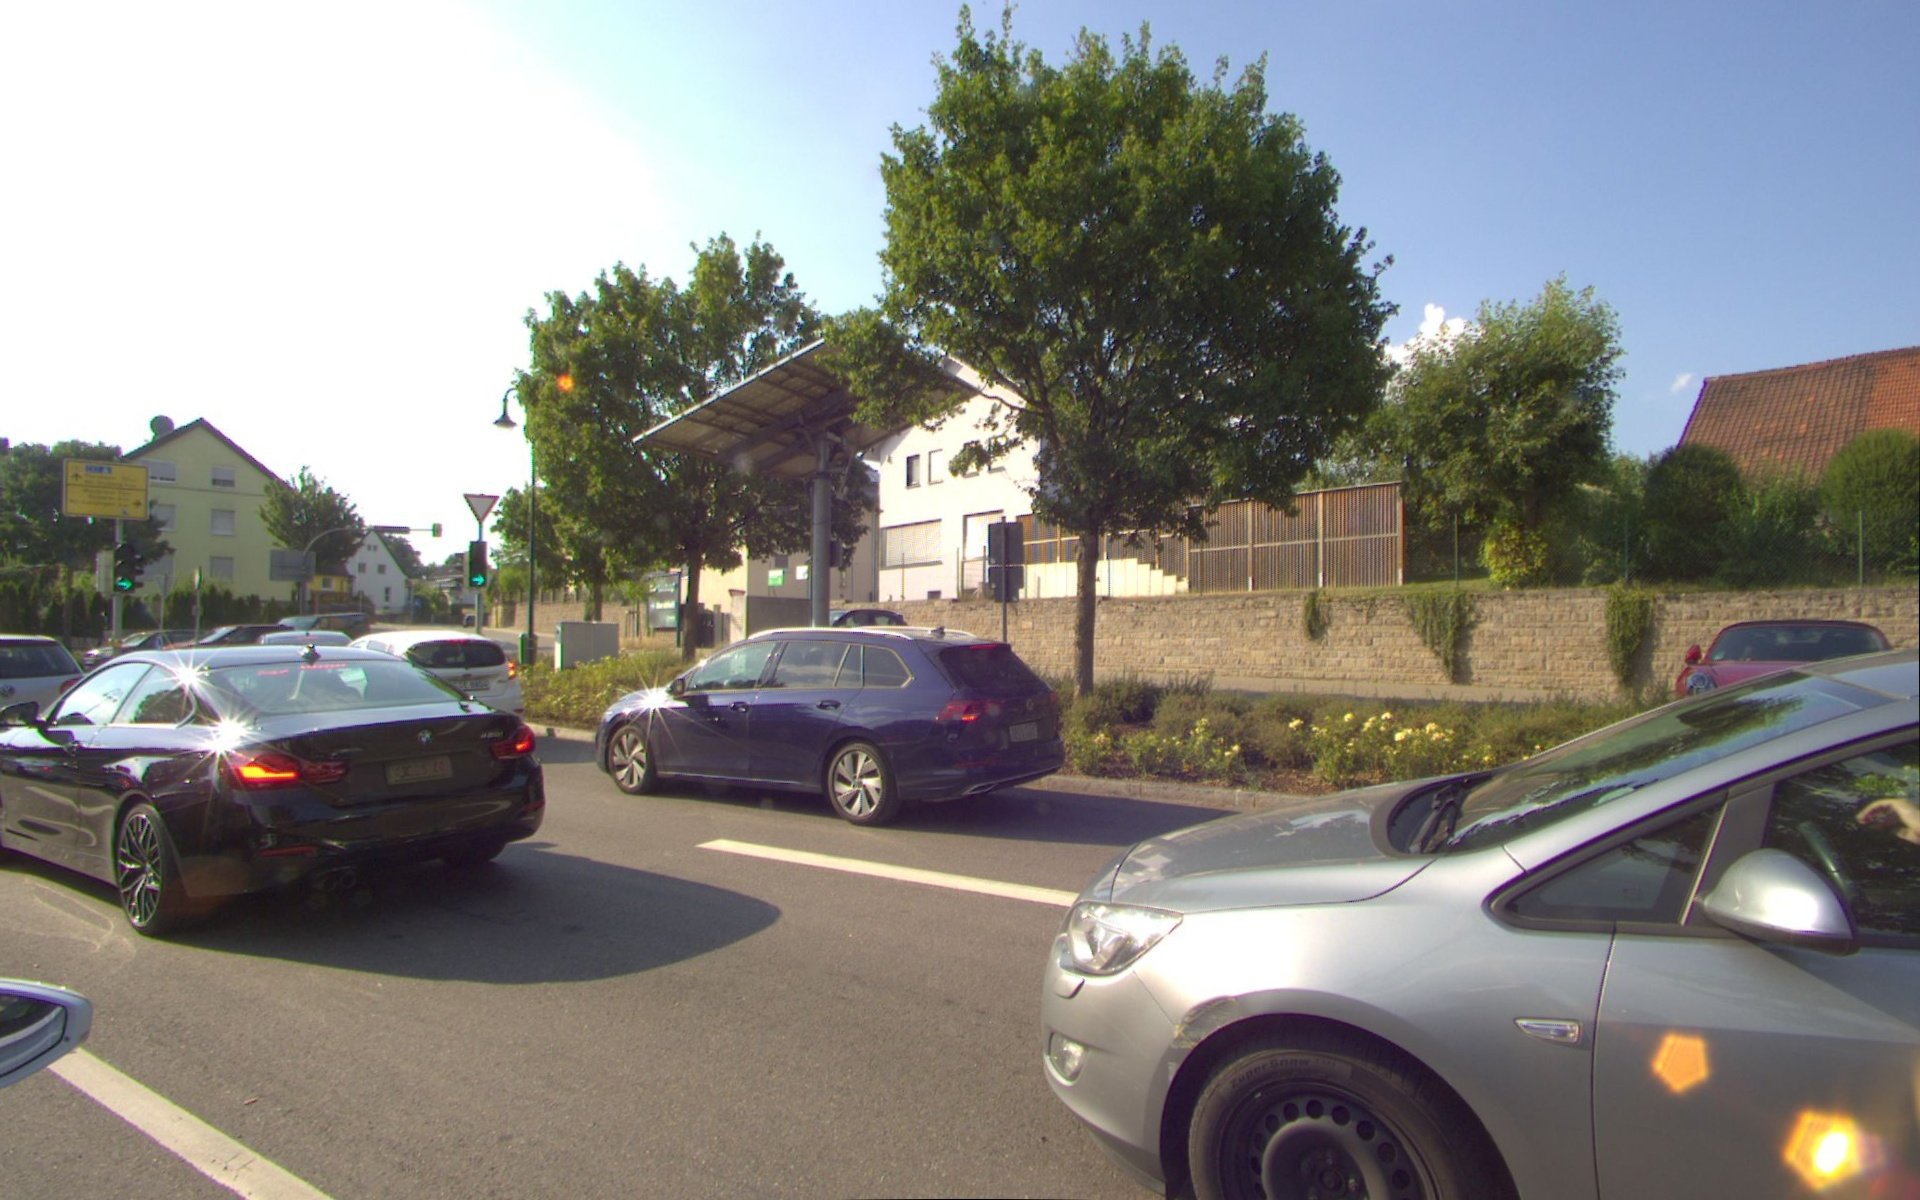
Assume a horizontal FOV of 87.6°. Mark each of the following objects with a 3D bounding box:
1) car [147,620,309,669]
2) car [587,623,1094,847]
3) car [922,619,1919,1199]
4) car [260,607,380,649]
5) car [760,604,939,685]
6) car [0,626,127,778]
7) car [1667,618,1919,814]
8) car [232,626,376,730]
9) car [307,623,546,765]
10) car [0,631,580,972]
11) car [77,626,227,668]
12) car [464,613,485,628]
[{"bbox_3d":[-26.489,1.604,36.418,1.818,1.662,4.418,0,-2,25],"label":"car"},{"bbox_3d":[-1.150,0.956,8.658,4.259,1.472,1.757,-1,0,34],"label":"car"},{"bbox_3d":[2.171,0.790,2.170,4.256,1.472,1.758,-1,0,31],"label":"car"},{"bbox_3d":[-28.520,1.257,44.806,1.813,1.761,4.785,0,-2,9],"label":"car"},{"bbox_3d":[-2.380,0.970,22.306,1.758,1.653,3.800,-1,-2,40],"label":"car"},{"bbox_3d":[-10.808,1.019,10.787,3.848,1.444,1.758,-1,0,33],"label":"car"},{"bbox_3d":[8.223,0.961,9.753,1.758,1.510,4.120,-1,-2,41],"label":"car"},{"bbox_3d":[-11.755,1.278,17.822,1.643,1.562,4.362,0,0,-40],"label":"car"},{"bbox_3d":[-6.920,1.088,12.896,3.278,1.562,1.611,-1,0,40],"label":"car"},{"bbox_3d":[-4.437,0.922,6.194,4.220,1.416,1.758,-1,0,33],"label":"car"},{"bbox_3d":[-30.075,1.724,37.371,1.821,1.508,3.983,-1,-2,30],"label":"car"},{"bbox_3d":[-58.558,2.487,120.816,1.939,1.701,4.202,0,-1,-23],"label":"car"}]
